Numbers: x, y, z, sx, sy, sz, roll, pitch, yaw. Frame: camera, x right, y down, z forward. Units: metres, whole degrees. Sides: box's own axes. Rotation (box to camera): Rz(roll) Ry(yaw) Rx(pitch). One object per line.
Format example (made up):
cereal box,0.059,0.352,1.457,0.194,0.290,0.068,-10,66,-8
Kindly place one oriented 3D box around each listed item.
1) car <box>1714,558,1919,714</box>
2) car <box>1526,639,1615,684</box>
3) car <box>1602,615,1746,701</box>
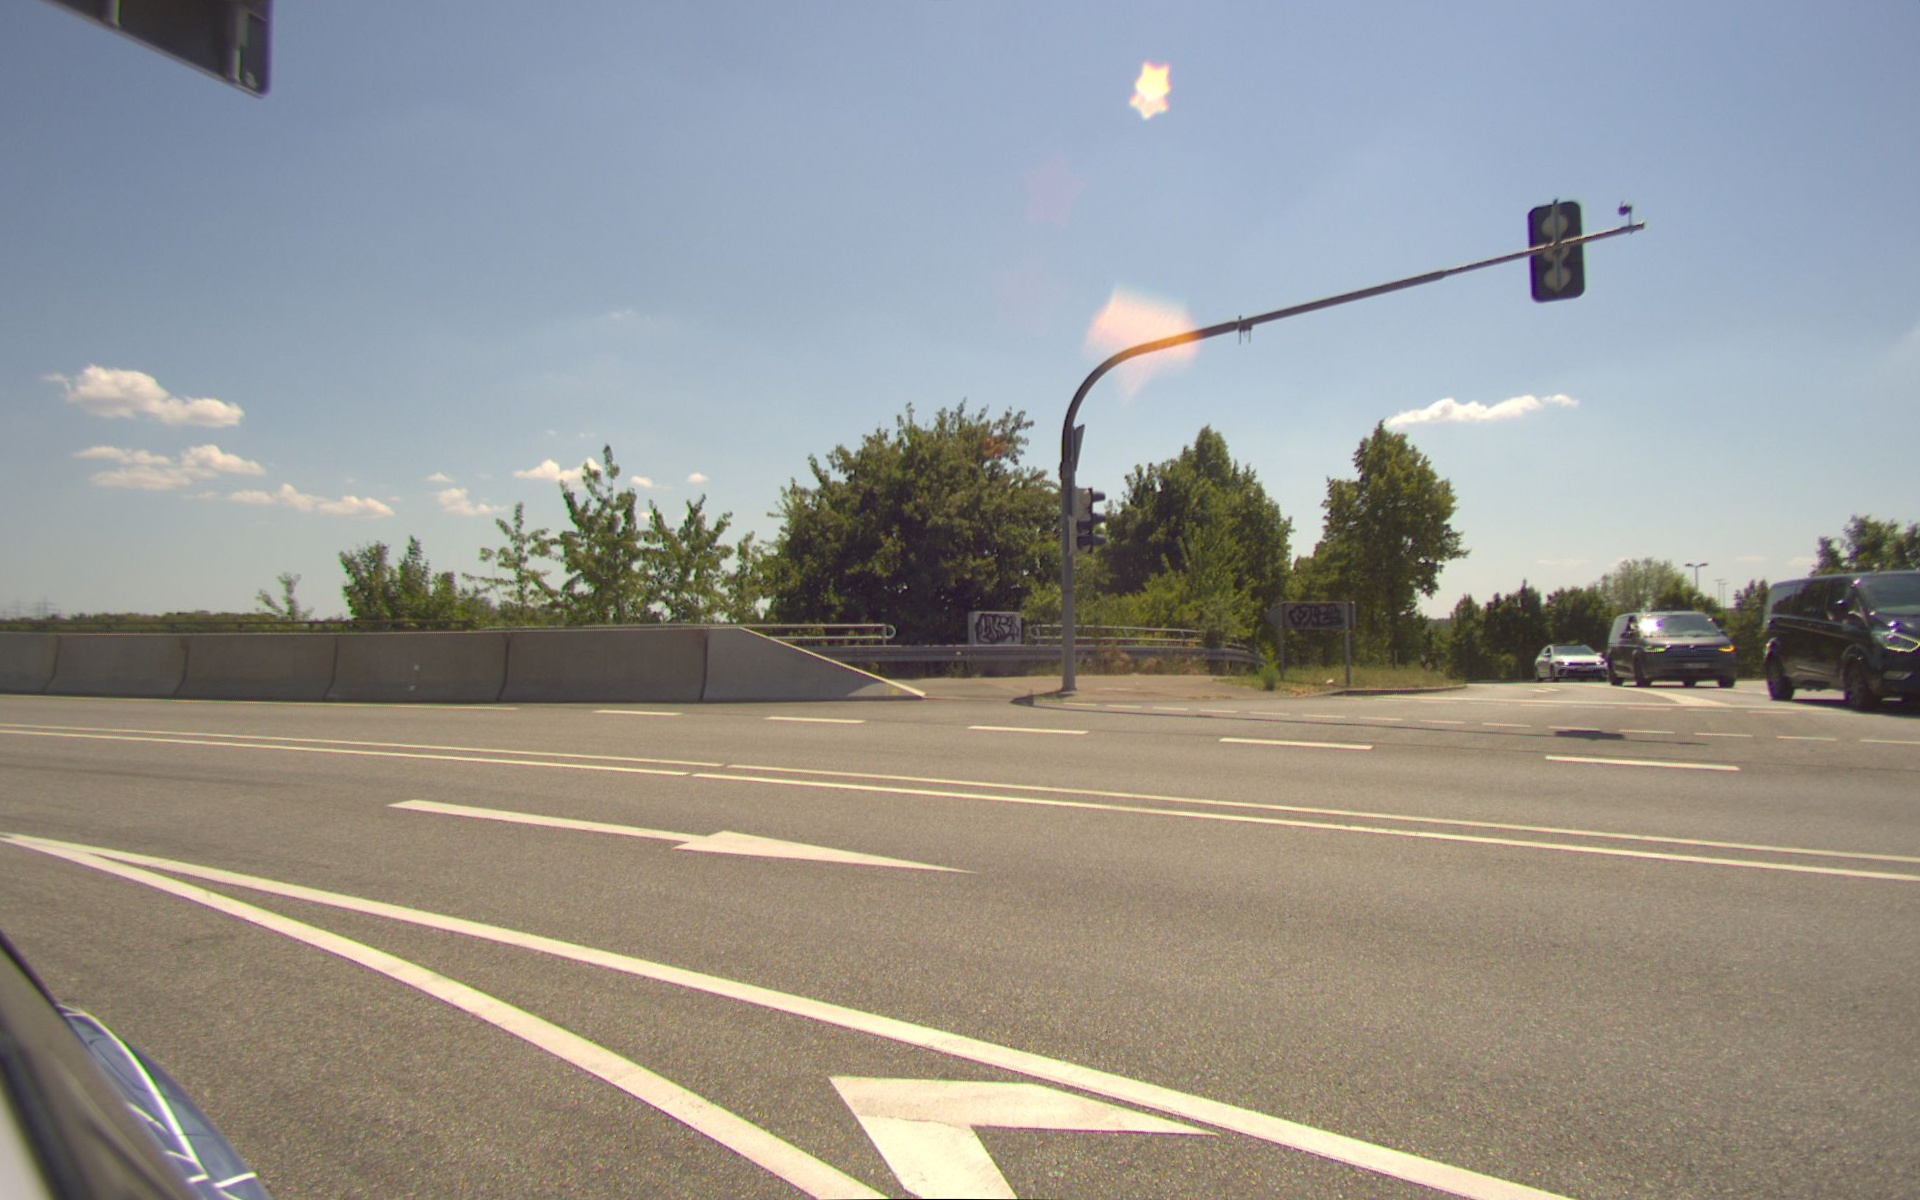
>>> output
car,13.594,0.475,14.968,2.107,1.952,5.381,-1,-1,17
car,22.841,2.269,38.022,1.778,1.540,3.980,-1,-1,15
car,17.692,1.423,25.328,1.932,1.934,4.498,0,-3,22
